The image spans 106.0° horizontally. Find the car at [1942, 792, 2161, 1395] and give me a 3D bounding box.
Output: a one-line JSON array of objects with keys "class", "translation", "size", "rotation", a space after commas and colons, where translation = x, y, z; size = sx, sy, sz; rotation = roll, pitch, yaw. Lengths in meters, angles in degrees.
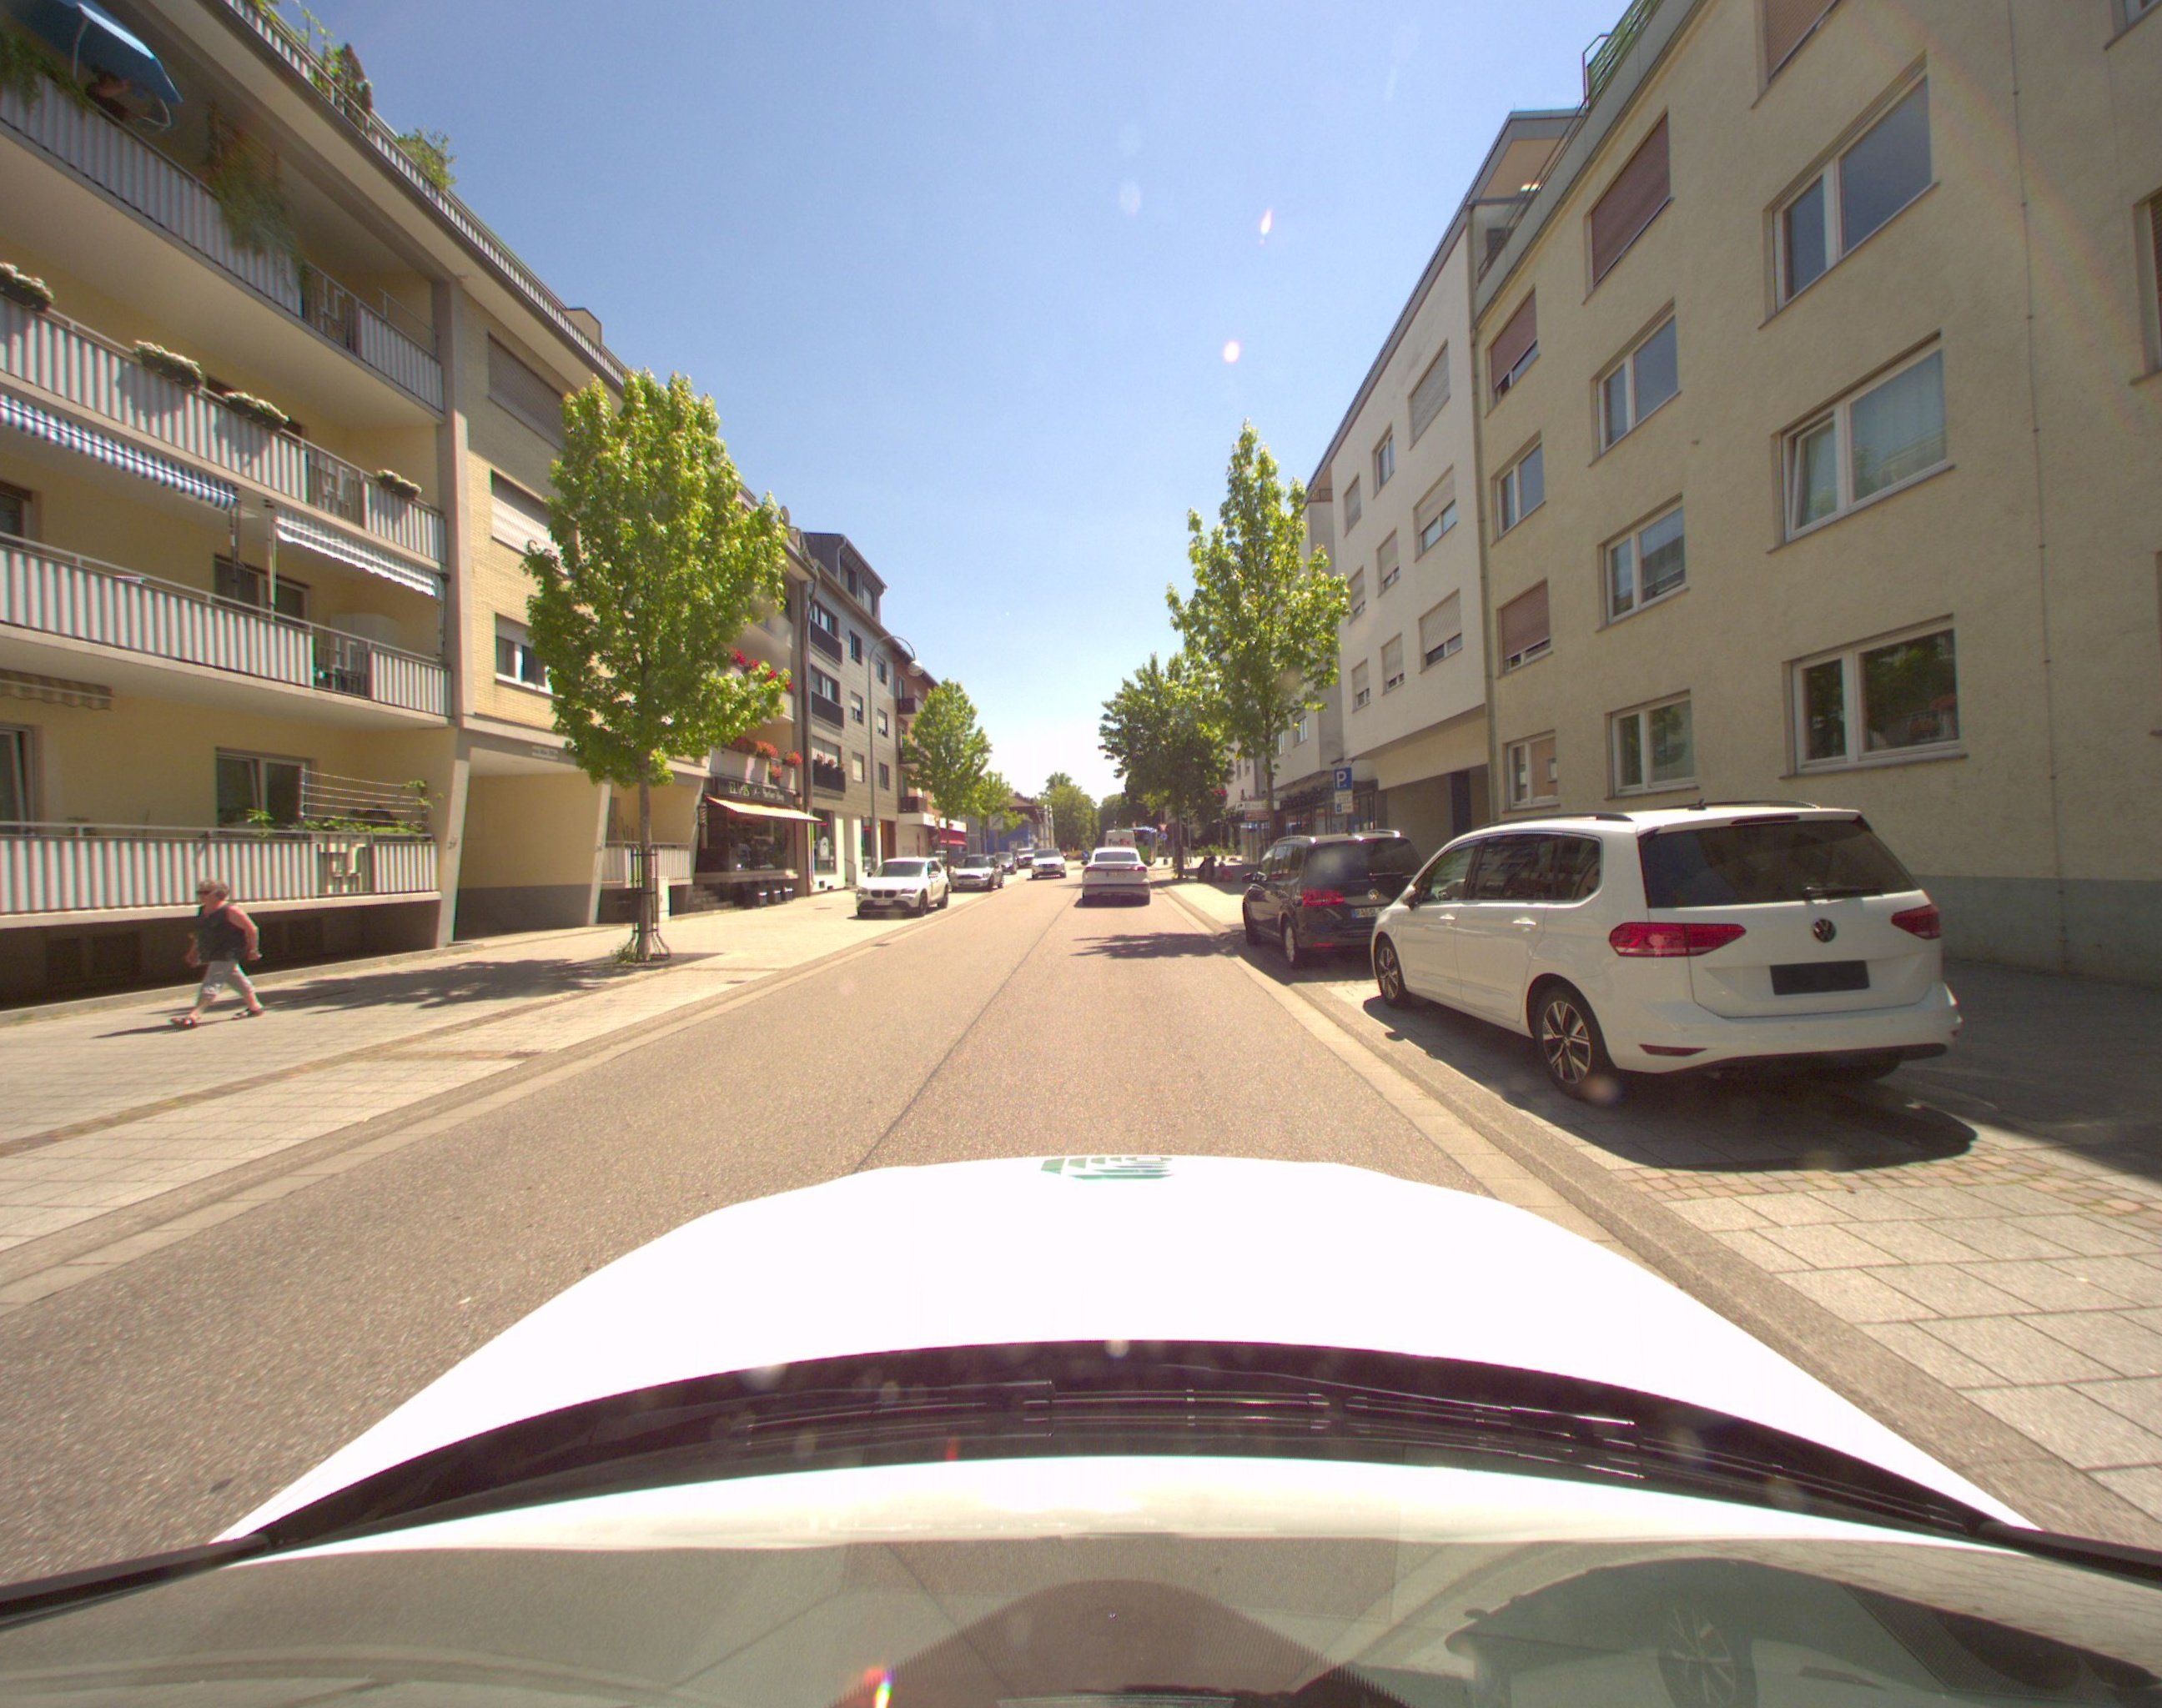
[{"class": "car", "translation": [3.376, 0.548, 0.100], "size": [1.888, 1.438, 4.549], "rotation": [-2, 0, 4]}]

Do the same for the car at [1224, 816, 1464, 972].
[{"class": "car", "translation": [3.411, 0.447, 11.595], "size": [1.850, 1.674, 4.536], "rotation": [-4, 0, 0]}]

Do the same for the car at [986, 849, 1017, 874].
[{"class": "car", "translation": [-5.300, 0.488, 55.000], "size": [1.833, 1.495, 3.996], "rotation": [-2, 0, -3]}]

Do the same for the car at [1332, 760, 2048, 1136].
[{"class": "car", "translation": [3.643, 0.435, 6.240], "size": [1.890, 1.674, 4.689], "rotation": [-4, 0, 0]}]

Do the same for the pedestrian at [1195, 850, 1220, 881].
[{"class": "pedestrian", "translation": [5.167, 0.464, 33.320], "size": [0.903, 1.236, 0.648], "rotation": [-2, 0, 1]}]

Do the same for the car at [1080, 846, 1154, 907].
[{"class": "car", "translation": [1.017, 0.592, 24.122], "size": [1.987, 1.633, 4.001], "rotation": [-1, 0, 1]}]

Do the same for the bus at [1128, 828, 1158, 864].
[{"class": "bus", "translation": [5.737, -0.739, 76.277], "size": [2.649, 3.209, 7.457], "rotation": [-1, 0, 3]}]

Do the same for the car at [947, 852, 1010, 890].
[{"class": "car", "translation": [-4.181, 0.657, 33.785], "size": [1.745, 1.453, 4.405], "rotation": [0, 0, 4]}]

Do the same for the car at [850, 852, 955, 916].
[{"class": "car", "translation": [-4.889, 0.756, 22.927], "size": [1.745, 1.618, 4.404], "rotation": [0, 0, 3]}]

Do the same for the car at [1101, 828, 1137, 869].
[{"class": "car", "translation": [2.373, -0.337, 51.475], "size": [2.148, 2.442, 5.286], "rotation": [0, 0, 2]}]

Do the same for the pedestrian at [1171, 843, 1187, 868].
[{"class": "pedestrian", "translation": [5.896, 0.100, 48.914], "size": [0.583, 1.502, 0.713], "rotation": [-2, 0, -26]}]

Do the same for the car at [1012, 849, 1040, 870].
[{"class": "car", "translation": [-4.903, 0.465, 72.430], "size": [1.867, 1.757, 3.982], "rotation": [0, 0, -13]}]

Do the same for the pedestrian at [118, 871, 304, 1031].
[{"class": "pedestrian", "translation": [-8.852, 0.936, 8.342], "size": [0.695, 1.492, 1.097], "rotation": [1, 0, 2]}]

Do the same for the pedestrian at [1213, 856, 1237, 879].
[{"class": "pedestrian", "translation": [5.810, 0.560, 32.831], "size": [0.901, 0.879, 0.649], "rotation": [-2, 0, 7]}]

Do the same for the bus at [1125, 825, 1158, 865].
[{"class": "bus", "translation": [5.166, -0.687, 69.003], "size": [2.648, 3.221, 7.310], "rotation": [0, 0, 5]}]

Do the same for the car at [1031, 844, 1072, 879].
[{"class": "car", "translation": [-1.571, 0.394, 44.235], "size": [1.849, 1.692, 4.152], "rotation": [-3, 0, 2]}]
